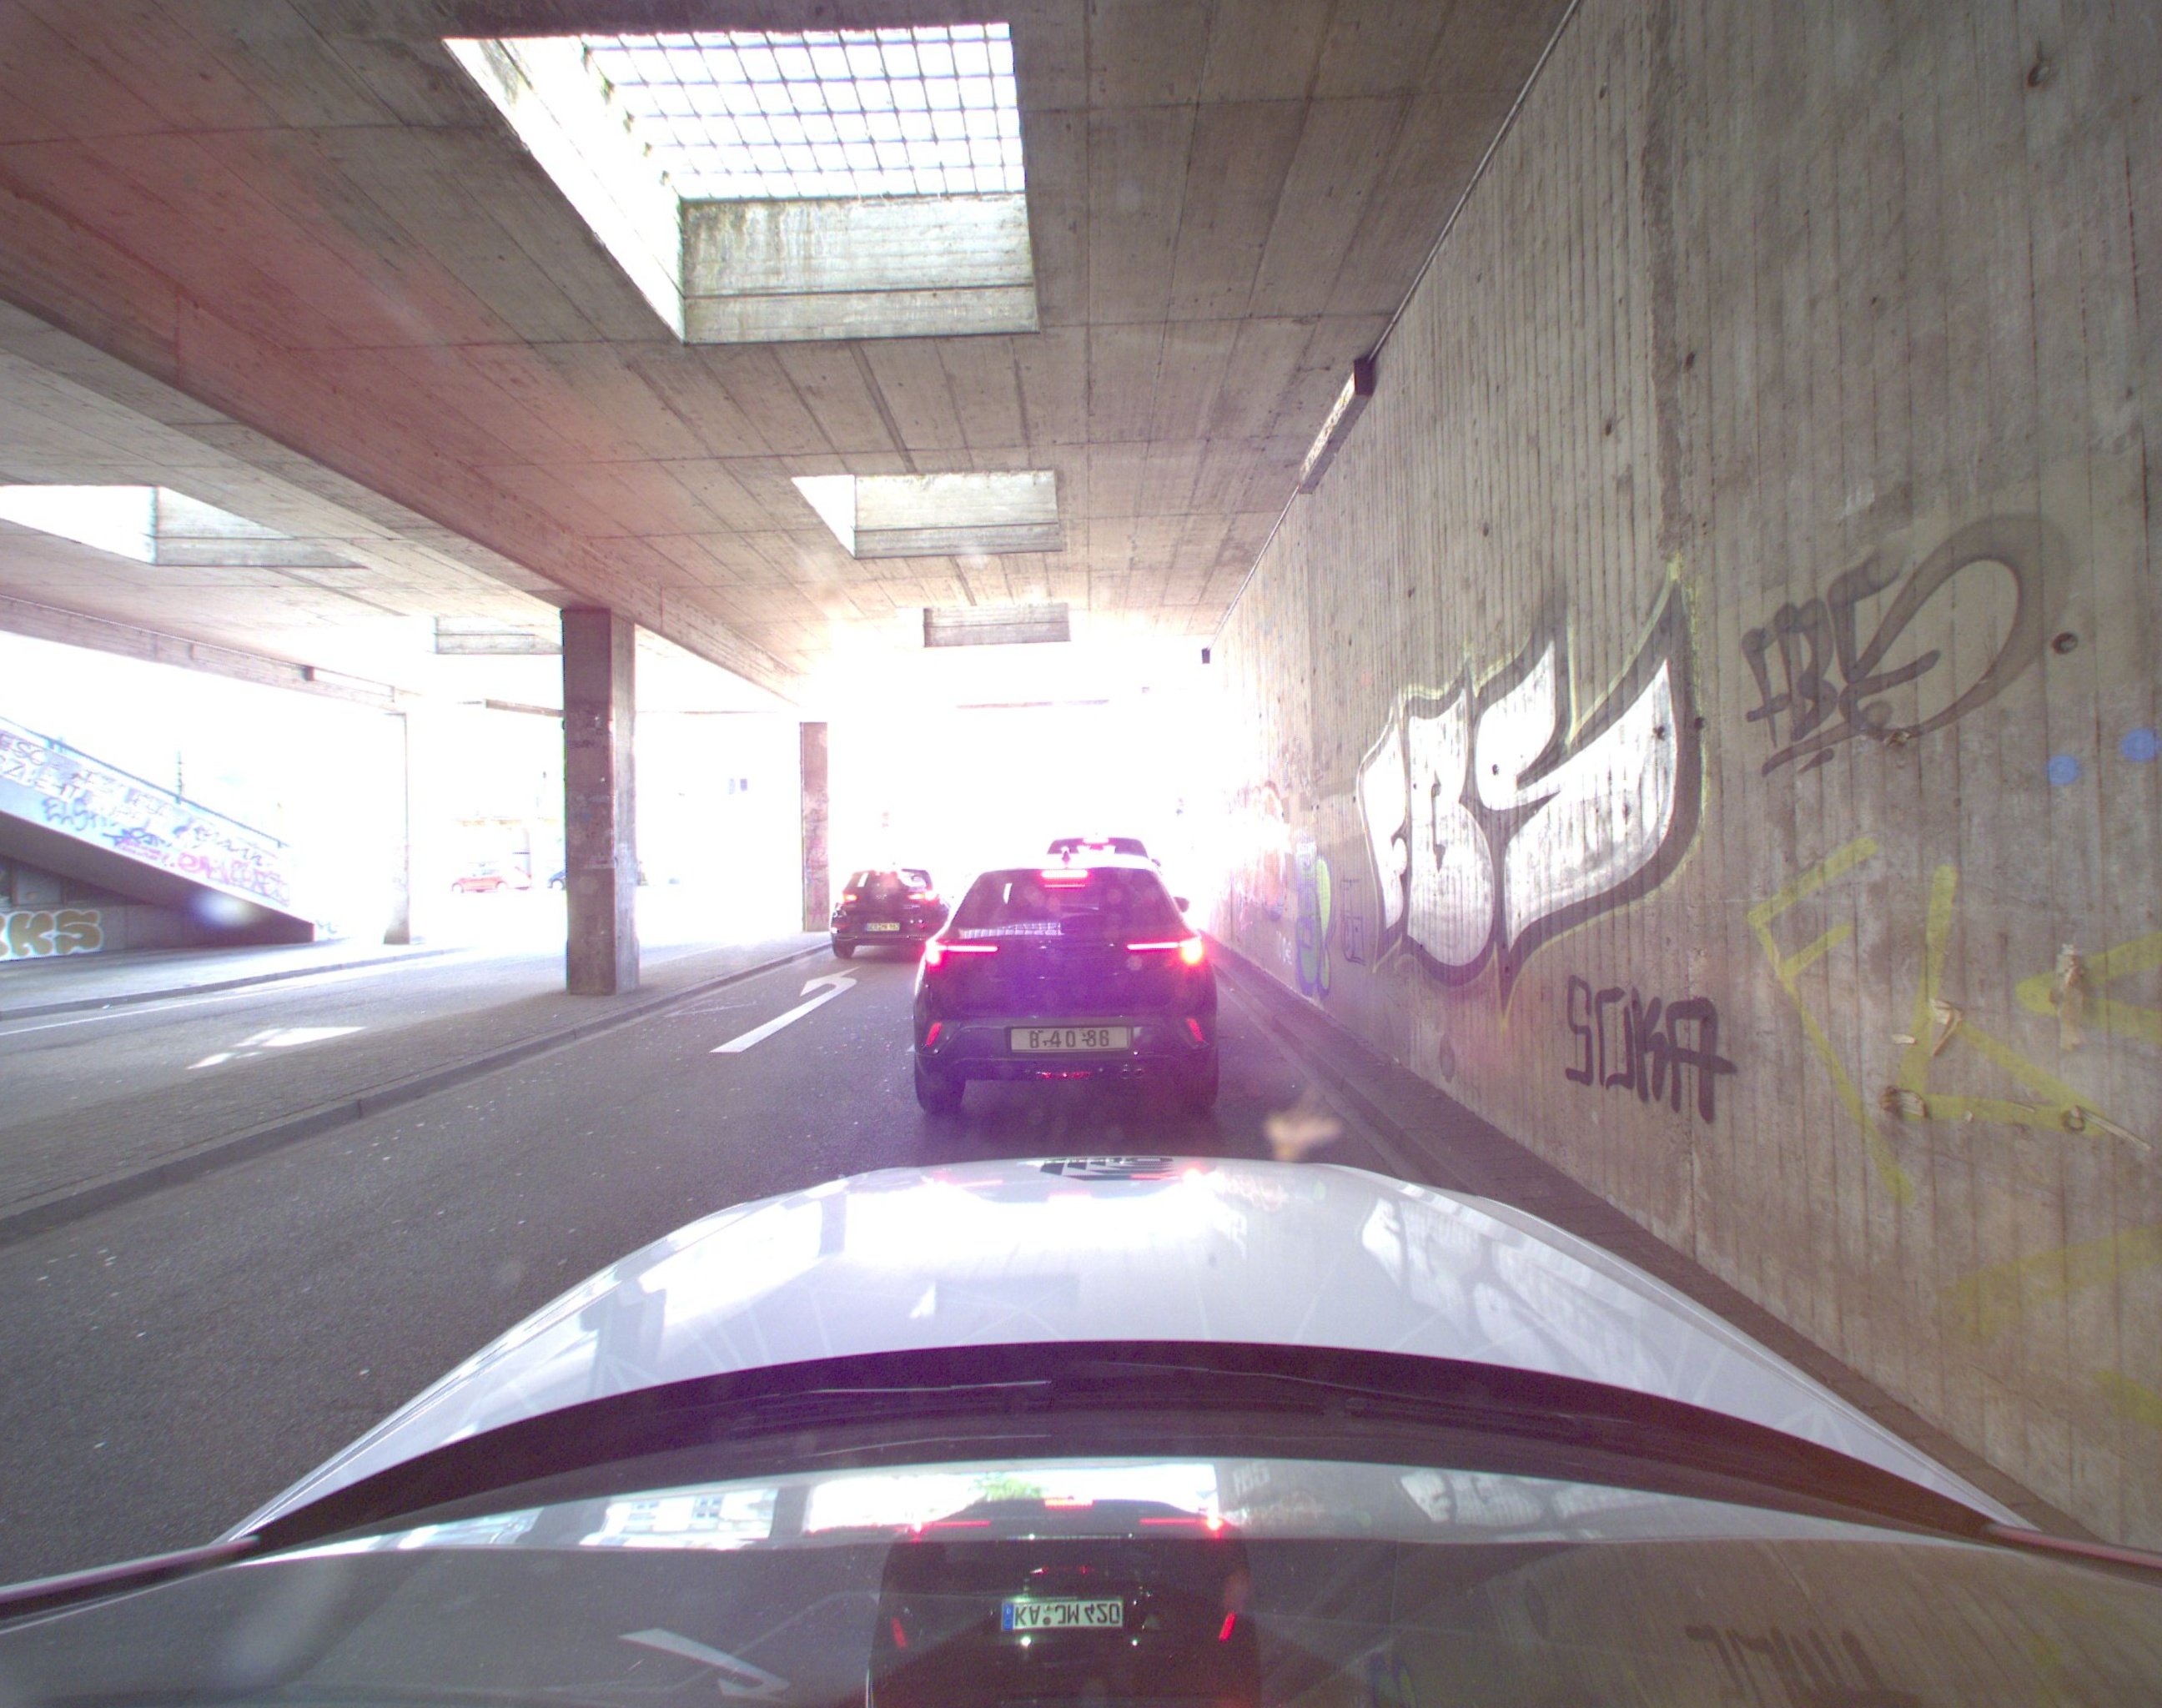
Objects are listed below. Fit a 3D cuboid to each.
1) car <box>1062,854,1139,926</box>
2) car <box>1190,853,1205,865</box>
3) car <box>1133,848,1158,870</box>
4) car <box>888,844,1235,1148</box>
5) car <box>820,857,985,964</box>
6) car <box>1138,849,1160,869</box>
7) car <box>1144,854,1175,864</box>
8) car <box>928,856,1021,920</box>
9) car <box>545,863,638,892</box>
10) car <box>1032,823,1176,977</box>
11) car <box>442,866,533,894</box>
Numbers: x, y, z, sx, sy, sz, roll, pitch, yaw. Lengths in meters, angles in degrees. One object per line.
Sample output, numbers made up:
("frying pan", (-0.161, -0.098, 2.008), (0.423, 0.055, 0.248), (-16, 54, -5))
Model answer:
("car", (0.484, 0.769, 19.379), (1.603, 1.513, 4.055), (-1, 0, 2))
("car", (17.043, 0.774, 119.097), (1.742, 1.667, 3.958), (0, -1, 13))
("car", (4.965, 0.389, 62.248), (1.745, 1.667, 3.950), (0, -1, 6))
("car", (-0.038, 0.735, 6.222), (1.755, 1.531, 4.091), (-1, 0, 2))
("car", (-2.758, 0.805, 13.481), (1.755, 1.480, 3.846), (-1, 0, 2))
("car", (5.753, 0.433, 68.352), (1.745, 1.667, 3.950), (0, -1, 6))
("car", (12.849, 0.870, 133.683), (4.814, 1.667, 1.812), (0, -1, -19))
("car", (-2.668, 0.801, 21.209), (1.755, 1.480, 3.846), (-1, 0, 2))
("car", (-27.179, 1.301, 45.291), (4.096, 1.475, 1.737), (-1, -1, 0))
("car", (0.348, 0.575, 12.161), (1.755, 1.883, 4.148), (-1, 0, 2))
("car", (-32.935, 1.418, 45.270), (3.748, 1.475, 1.749), (-1, -1, 0))
